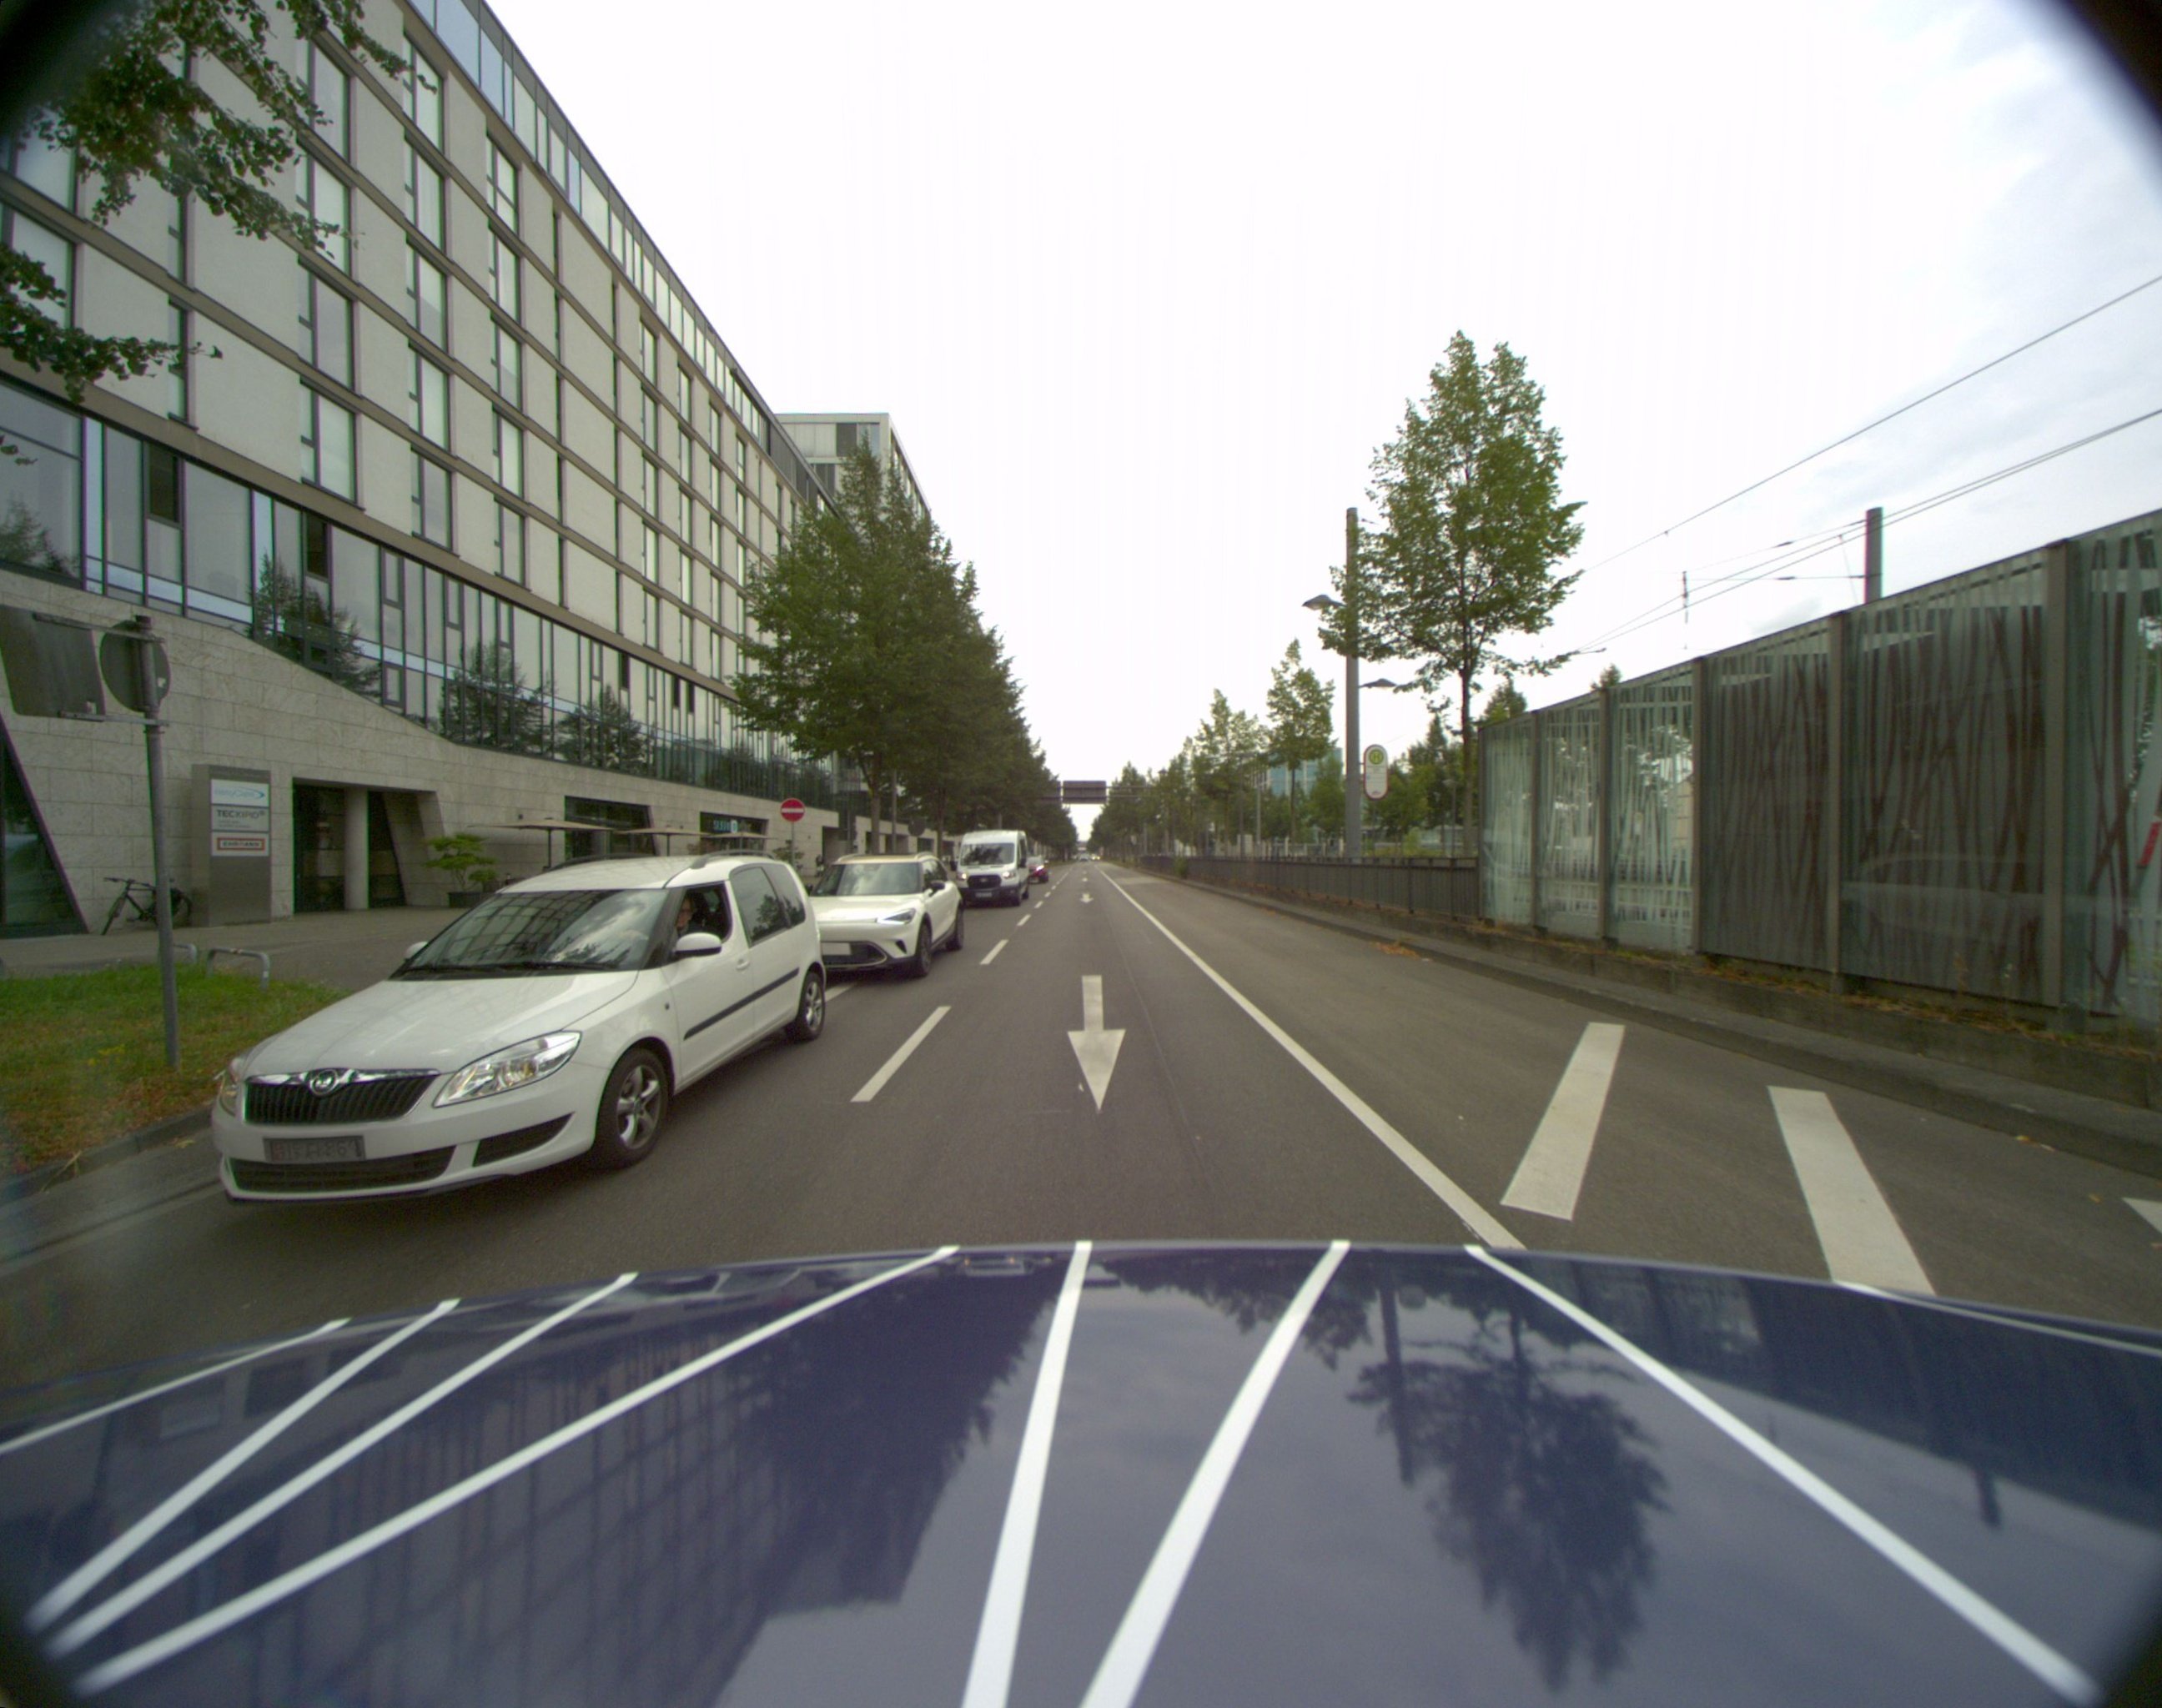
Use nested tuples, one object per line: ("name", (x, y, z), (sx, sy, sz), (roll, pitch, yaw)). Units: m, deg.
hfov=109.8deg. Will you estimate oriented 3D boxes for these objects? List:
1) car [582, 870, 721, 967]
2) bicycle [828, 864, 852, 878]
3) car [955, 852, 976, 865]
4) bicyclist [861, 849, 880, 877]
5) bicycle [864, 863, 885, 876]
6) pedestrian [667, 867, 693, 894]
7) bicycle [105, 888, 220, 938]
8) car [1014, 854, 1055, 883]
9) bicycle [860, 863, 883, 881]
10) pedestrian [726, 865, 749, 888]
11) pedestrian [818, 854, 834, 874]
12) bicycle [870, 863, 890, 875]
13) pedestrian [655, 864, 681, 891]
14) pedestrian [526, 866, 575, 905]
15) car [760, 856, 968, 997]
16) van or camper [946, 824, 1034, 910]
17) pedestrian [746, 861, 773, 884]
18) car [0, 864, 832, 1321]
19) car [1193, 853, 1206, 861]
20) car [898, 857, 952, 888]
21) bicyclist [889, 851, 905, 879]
("car", (-8.546, 1.098, 14.876), (1.951, 1.467, 4.858), (-1, 0, -34))
("bicycle", (-17.728, 1.229, 55.991), (1.605, 1.020, 0.609), (0, 0, -27))
("car", (-14.349, 0.546, 94.825), (1.862, 1.579, 4.240), (2, 0, 0))
("bicyclist", (-12.213, 0.506, 44.116), (0.726, 1.573, 0.990), (1, 1, 5))
("bicycle", (-17.270, 1.280, 63.530), (1.602, 1.020, 0.533), (0, 0, -3))
("pedestrian", (-18.132, 1.190, 34.371), (0.720, 1.185, 0.759), (0, 0, 2))
("bicycle", (-18.793, 1.191, 15.592), (0.519, 0.905, 1.493), (0, 0, 1))
("car", (-2.585, 0.778, 42.940), (1.973, 1.528, 4.139), (0, 0, 1))
("bicycle", (-12.200, 1.033, 44.282), (0.675, 1.036, 2.008), (0, 0, 4))
("pedestrian", (-17.992, 1.177, 39.795), (0.719, 1.185, 0.760), (0, 0, 22))
("pedestrian", (-17.520, 0.684, 52.233), (0.758, 1.398, 0.721), (0, 0, 8))
("bicycle", (-17.292, 1.286, 65.375), (1.602, 1.020, 0.533), (0, 0, -3))
("pedestrian", (-18.150, 1.028, 33.393), (0.720, 1.185, 0.759), (0, 0, 0))
("pedestrian", (-17.127, 1.015, 24.547), (0.899, 1.221, 0.950), (0, 0, 5))
("car", (-2.845, 0.855, 10.923), (1.783, 1.647, 4.023), (0, 0, 1))
("van or camper", (-2.892, 0.400, 25.713), (2.184, 2.493, 6.339), (-2, 0, 0))
("pedestrian", (-17.407, 1.002, 41.153), (0.773, 1.185, 1.107), (0, 0, 15))
("car", (-3.175, 0.921, 4.839), (1.783, 1.647, 4.023), (0, 0, 1))
("car", (24.422, 0.688, 157.348), (1.832, 1.646, 4.691), (0, 0, -2))
("car", (-8.248, 0.957, 40.584), (1.943, 1.543, 4.593), (-1, 0, 0))
("bicyclist", (-10.640, 0.641, 43.973), (0.726, 1.573, 0.989), (1, 1, -4))
